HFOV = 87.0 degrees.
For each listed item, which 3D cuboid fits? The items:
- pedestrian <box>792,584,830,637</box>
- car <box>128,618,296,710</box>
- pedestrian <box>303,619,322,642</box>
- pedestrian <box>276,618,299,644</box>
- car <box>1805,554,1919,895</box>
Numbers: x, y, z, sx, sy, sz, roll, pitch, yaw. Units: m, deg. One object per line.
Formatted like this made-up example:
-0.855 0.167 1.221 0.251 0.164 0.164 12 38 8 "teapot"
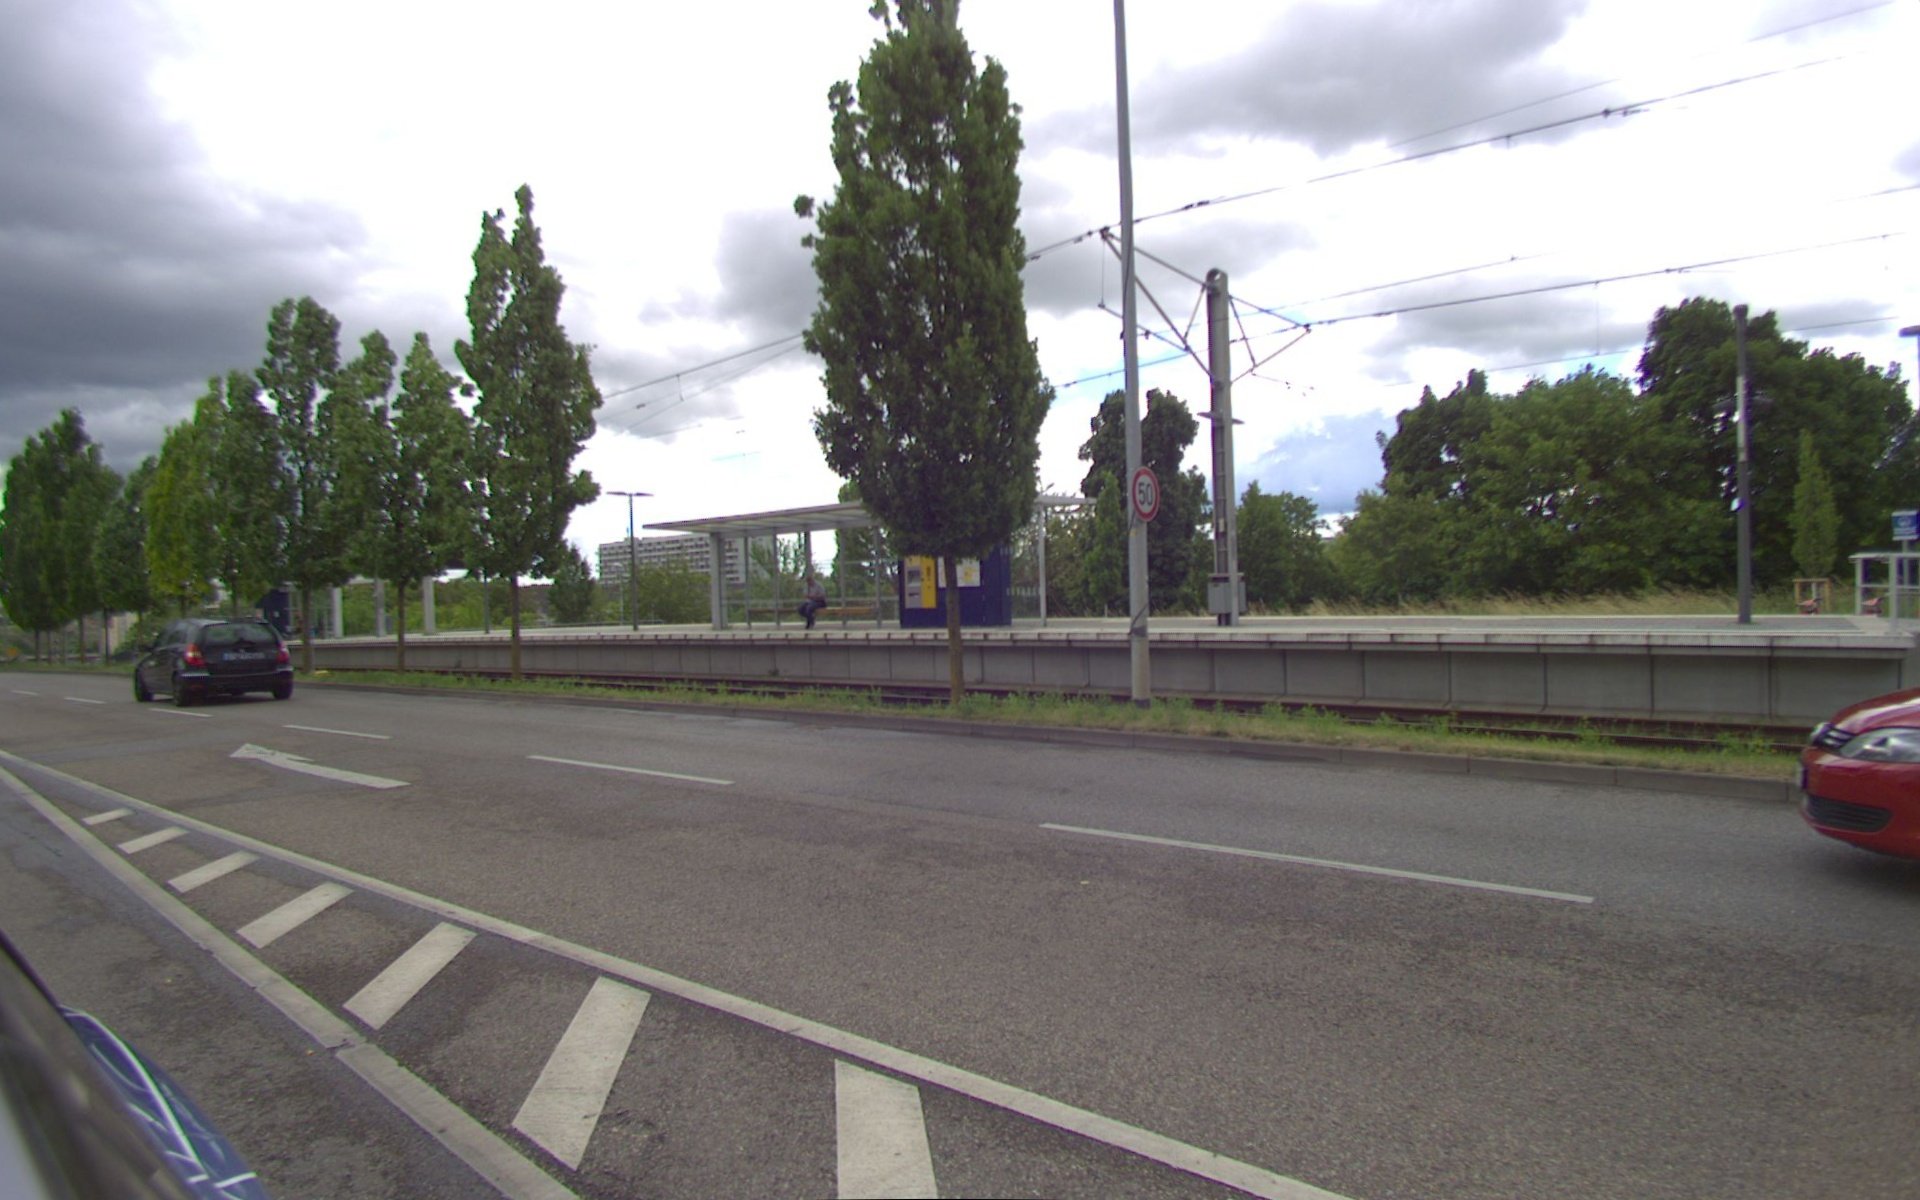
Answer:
-3.718 0.254 25.293 0.658 1.279 0.604 -5 -3 36 "pedestrian"
-14.247 1.189 19.222 3.703 1.586 1.708 -3 -3 39 "car"
-30.859 1.453 48.230 0.470 1.087 0.601 -5 -3 40 "pedestrian"
-32.015 1.490 48.203 0.665 1.208 0.753 -3 -2 41 "pedestrian"
6.127 0.536 4.065 4.080 1.499 1.687 -1 -1 37 "car"
